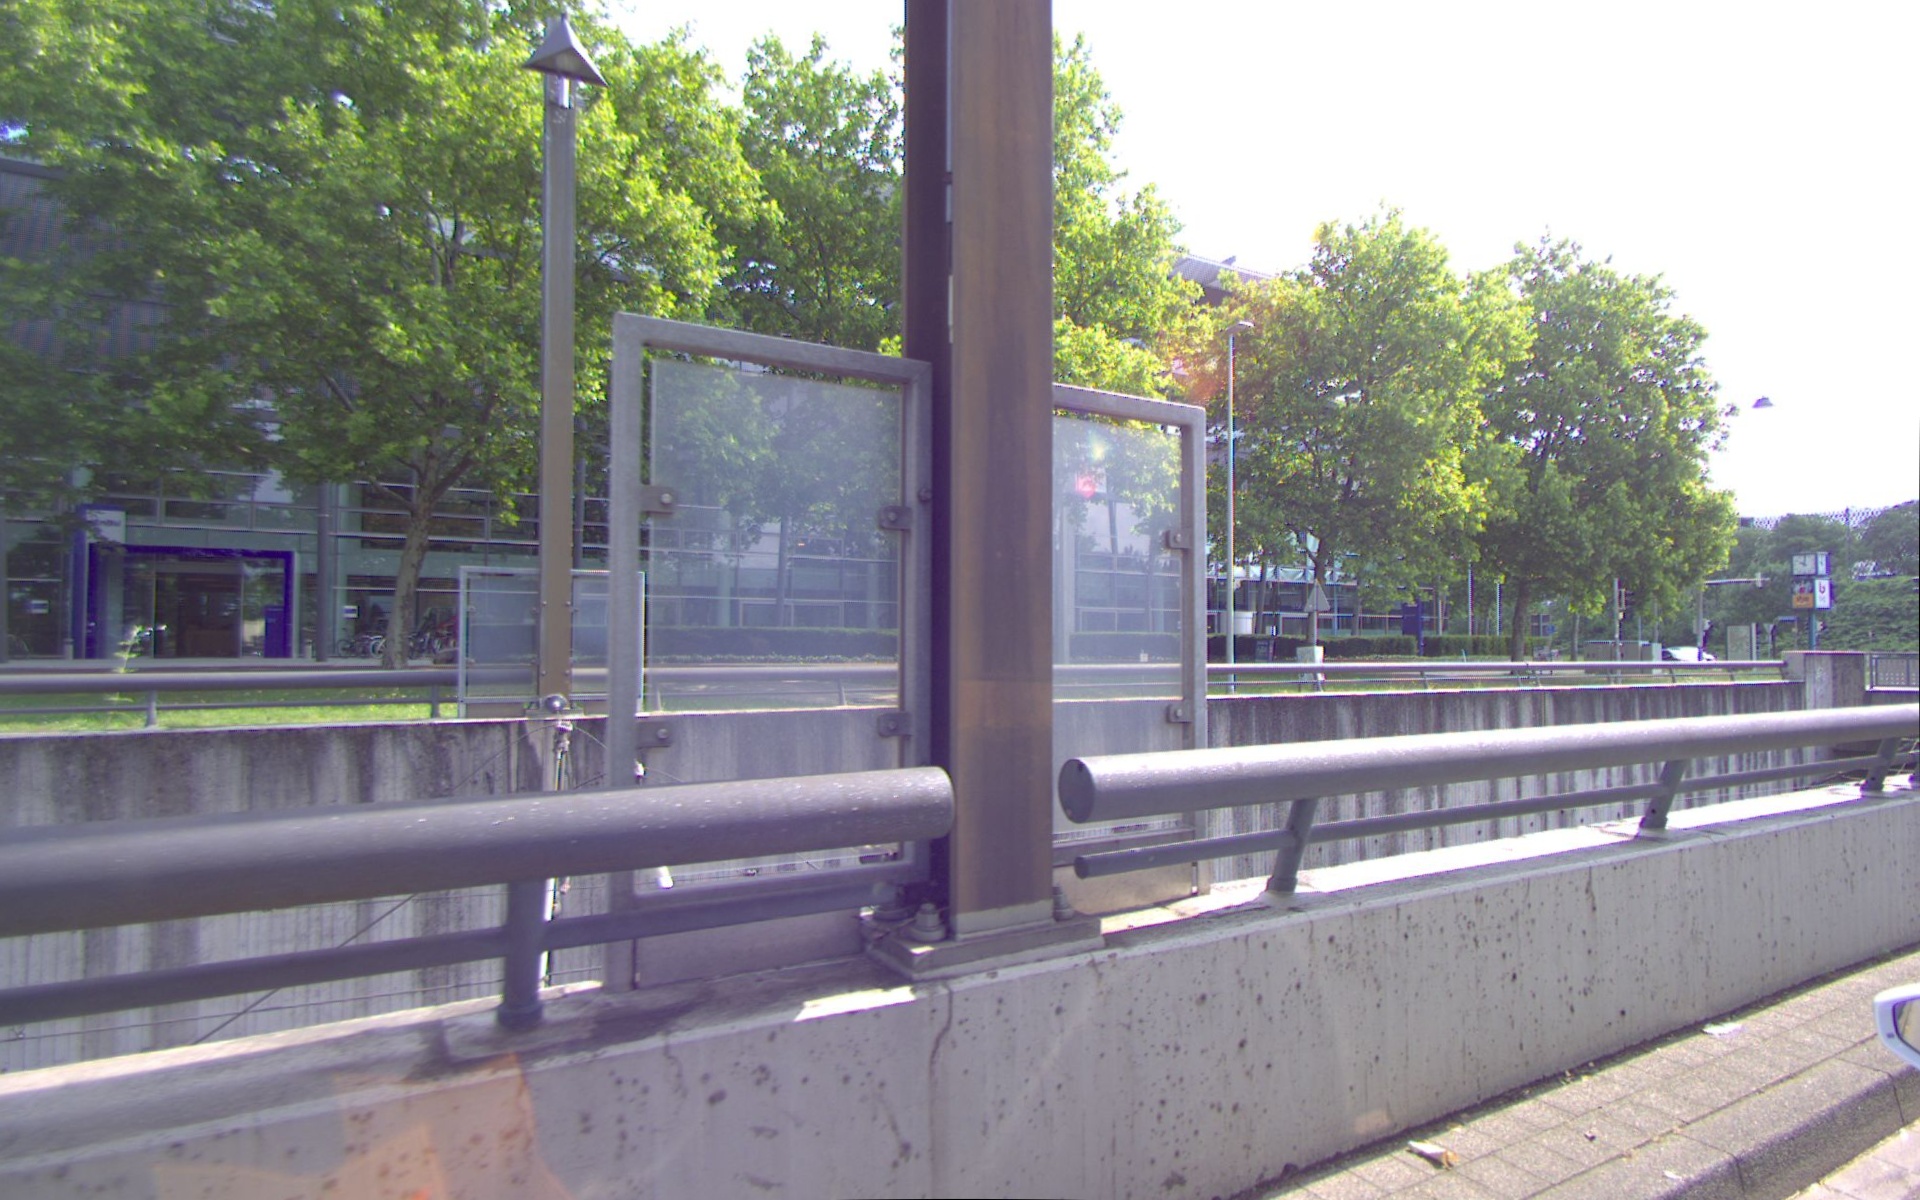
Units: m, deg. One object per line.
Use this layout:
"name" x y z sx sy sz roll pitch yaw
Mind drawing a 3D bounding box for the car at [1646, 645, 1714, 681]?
"car" 49.755 4.328 69.525 1.937 1.773 4.024 3 6 5

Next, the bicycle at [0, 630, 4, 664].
"bicycle" -30.314 1.413 30.648 2.291 1.037 0.595 0 -1 18

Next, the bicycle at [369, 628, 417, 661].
"bicycle" -20.629 1.614 36.595 0.623 1.165 2.271 1 -2 -5

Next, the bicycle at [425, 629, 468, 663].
"bicycle" -18.409 1.637 36.086 0.624 1.165 2.269 1 -2 -8

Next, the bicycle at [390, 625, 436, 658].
"bicycle" -19.940 1.516 36.678 0.624 1.165 2.270 1 -2 -6

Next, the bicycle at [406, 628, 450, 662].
"bicycle" -19.203 1.622 36.288 0.624 1.165 2.269 1 -2 -7

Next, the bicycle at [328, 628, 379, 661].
"bicycle" -22.064 1.616 36.597 0.623 1.165 2.271 1 -2 -5

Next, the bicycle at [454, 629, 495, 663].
"bicycle" -17.610 1.662 36.454 0.781 1.165 2.267 1 -2 -12

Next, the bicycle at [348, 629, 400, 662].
"bicycle" -21.382 1.654 36.693 0.624 1.164 2.271 3 -2 -5
